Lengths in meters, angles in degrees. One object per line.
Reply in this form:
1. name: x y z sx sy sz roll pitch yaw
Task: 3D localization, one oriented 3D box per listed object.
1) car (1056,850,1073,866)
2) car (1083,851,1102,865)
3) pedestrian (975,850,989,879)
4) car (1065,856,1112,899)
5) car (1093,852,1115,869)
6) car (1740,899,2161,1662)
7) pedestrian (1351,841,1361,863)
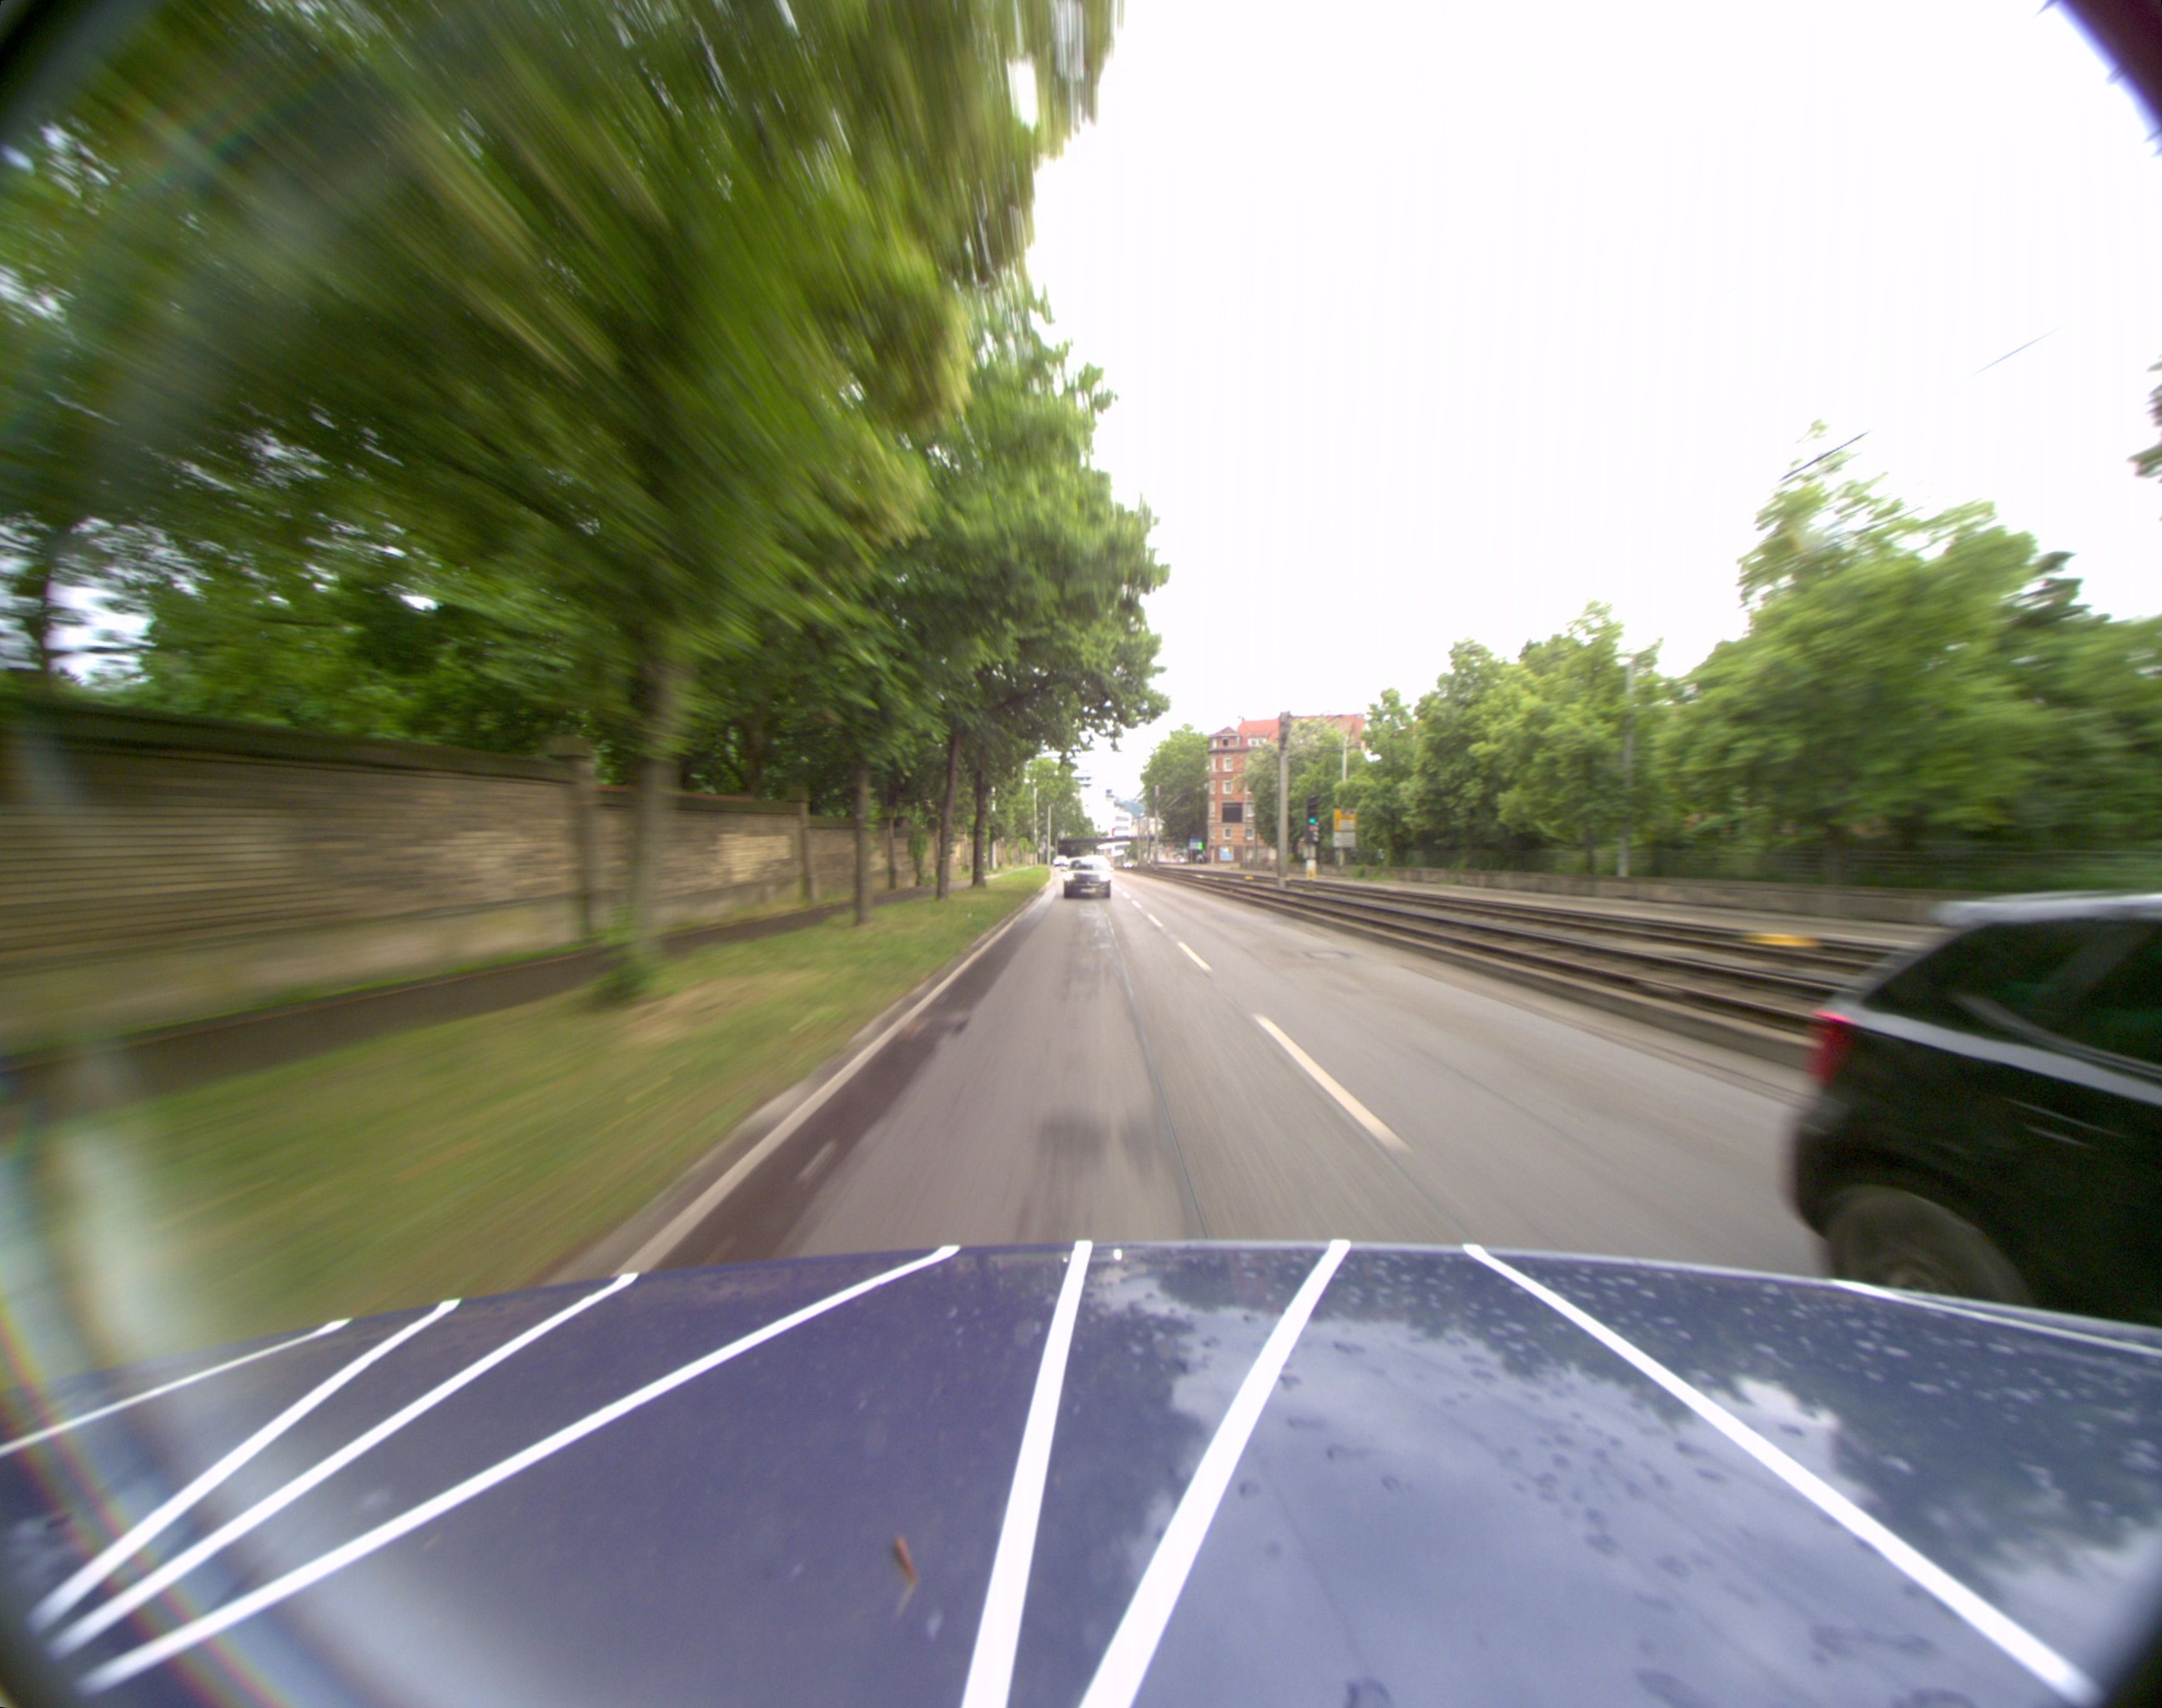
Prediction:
1. car: -2.122 0.496 98.018 1.998 2.002 4.000 -1 1 1
2. car: 1.245 0.423 81.828 1.807 1.483 4.101 0 0 -2
3. pedestrian: -6.035 0.644 46.323 0.710 1.769 0.900 0 1 -2
4. car: 0.262 0.821 28.631 1.658 1.483 3.829 0 0 0
5. car: 2.064 0.609 69.384 1.806 1.483 4.102 0 0 0
6. car: 3.087 0.893 0.520 1.798 1.477 3.964 0 0 -1
7. pedestrian: 23.857 -0.178 66.021 0.597 1.892 0.654 -1 1 -3
